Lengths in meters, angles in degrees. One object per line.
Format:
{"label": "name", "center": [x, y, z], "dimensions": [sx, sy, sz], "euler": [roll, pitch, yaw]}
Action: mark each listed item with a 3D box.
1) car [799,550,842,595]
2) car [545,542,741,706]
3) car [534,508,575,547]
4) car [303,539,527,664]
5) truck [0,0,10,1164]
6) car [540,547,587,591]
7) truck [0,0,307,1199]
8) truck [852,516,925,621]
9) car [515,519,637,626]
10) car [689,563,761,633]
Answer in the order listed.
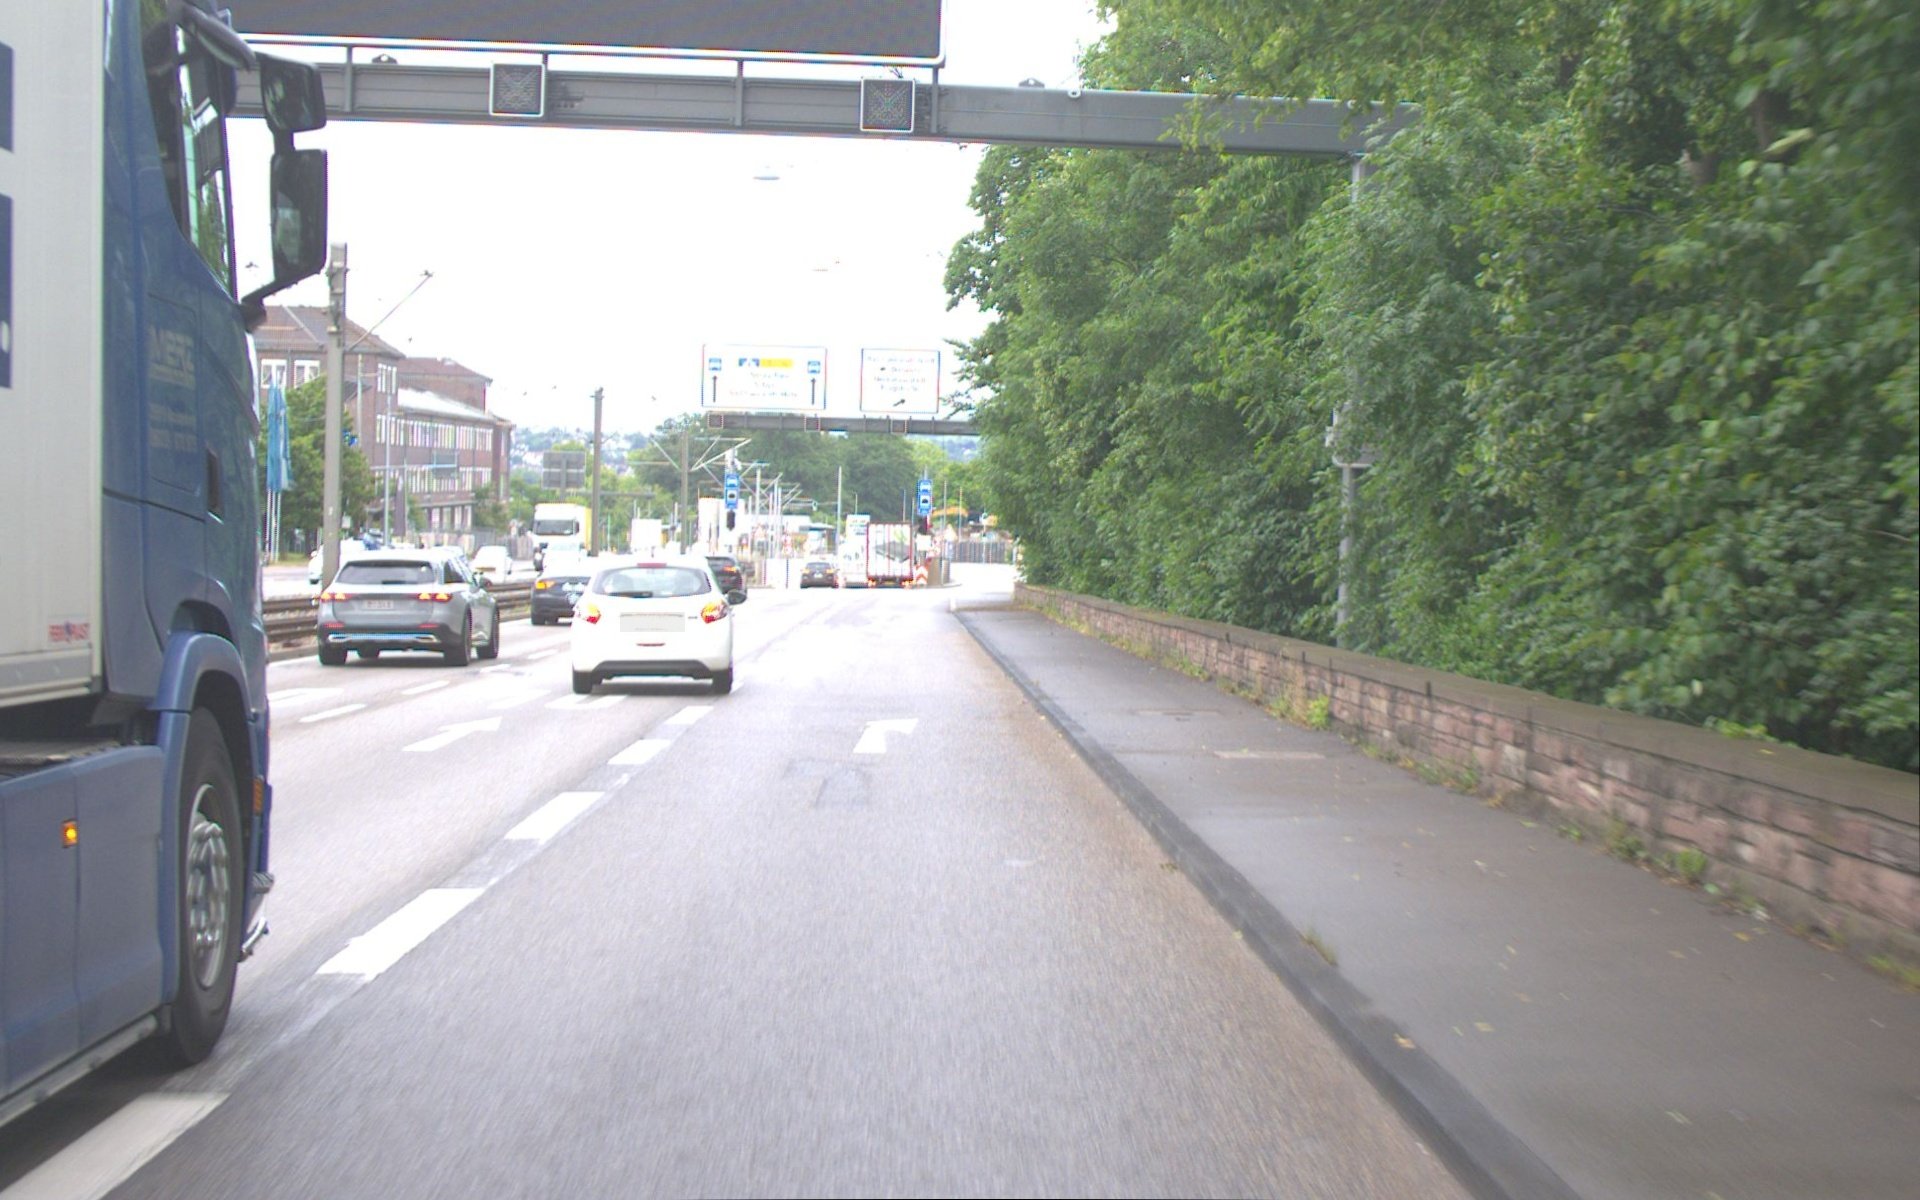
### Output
{"label": "car", "center": [-7.042, -1.395, 174.052], "dimensions": [1.993, 2.007, 4.000], "euler": [3, -2, -1]}
{"label": "car", "center": [-3.440, 0.220, 37.546], "dimensions": [1.955, 1.483, 4.001], "euler": [3, 3, -5]}
{"label": "car", "center": [-24.412, -4.365, 207.178], "dimensions": [1.993, 2.007, 4.000], "euler": [3, -2, -1]}
{"label": "car", "center": [-7.077, -0.010, 45.033], "dimensions": [1.821, 1.560, 4.091], "euler": [0, 1, 7]}
{"label": "truck", "center": [-3.338, -0.731, 0.999], "dimensions": [2.762, 4.182, 13.032], "euler": [0, 1, -1]}
{"label": "car", "center": [-20.538, -1.577, 178.248], "dimensions": [1.993, 2.007, 4.000], "euler": [3, -2, -1]}
{"label": "truck", "center": [-3.464, -0.772, 7.874], "dimensions": [2.762, 4.182, 6.785], "euler": [0, 1, -1]}
{"label": "truck", "center": [-4.082, -1.746, 199.594], "dimensions": [3.465, 5.383, 12.049], "euler": [2, -2, 1]}
{"label": "car", "center": [-7.717, -0.590, 69.257], "dimensions": [1.722, 1.884, 3.535], "euler": [2, 4, 5]}
{"label": "car", "center": [-7.497, -0.036, 110.029], "dimensions": [1.993, 2.007, 4.000], "euler": [3, -2, -1]}
